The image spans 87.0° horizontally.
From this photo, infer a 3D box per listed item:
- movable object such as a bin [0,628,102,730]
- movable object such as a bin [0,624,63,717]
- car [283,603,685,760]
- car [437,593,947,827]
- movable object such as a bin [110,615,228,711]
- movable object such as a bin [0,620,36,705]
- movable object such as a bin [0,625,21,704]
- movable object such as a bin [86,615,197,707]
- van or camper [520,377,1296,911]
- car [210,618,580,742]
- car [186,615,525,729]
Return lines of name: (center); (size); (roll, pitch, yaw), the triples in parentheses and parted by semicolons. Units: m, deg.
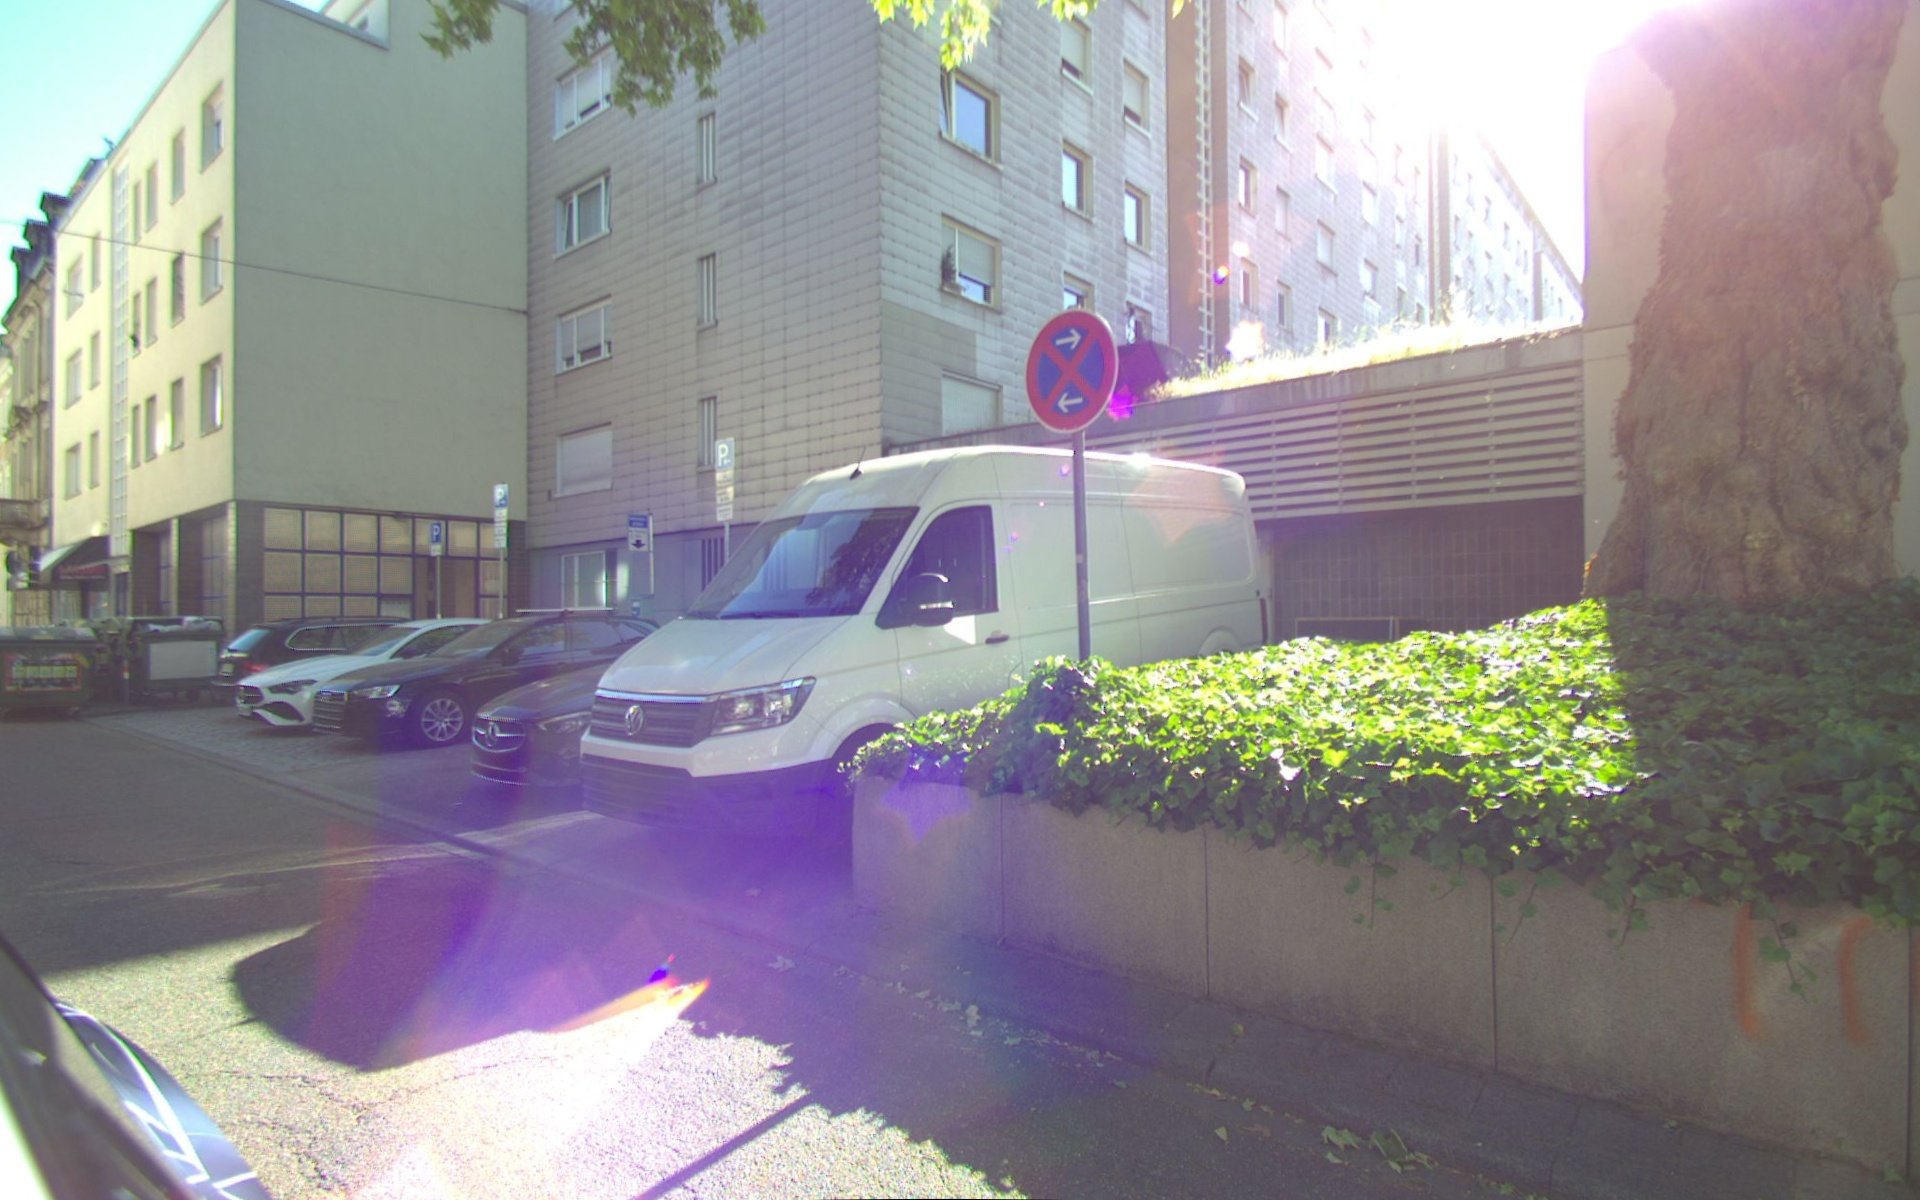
movable object such as a bin: (-14.646, 1.237, 15.984); (1.875, 1.512, 1.226); (-2, -6, 39)
movable object such as a bin: (-16.331, 1.183, 17.259); (1.923, 1.512, 1.231); (-2, -2, 38)
car: (-5.761, 0.891, 12.798); (1.694, 1.629, 4.367); (-2, -2, 34)
car: (-2.177, 0.781, 9.327); (1.697, 1.545, 4.361); (-2, 0, 39)
movable object such as a bin: (-13.219, 1.020, 16.918); (1.193, 1.512, 1.312); (-2, -2, 38)
movable object such as a bin: (-17.901, 1.135, 18.539); (1.558, 1.512, 1.207); (-2, -2, 38)
movable object such as a bin: (-19.144, 1.246, 19.568); (1.558, 1.512, 1.207); (-2, -2, 38)
movable object such as a bin: (-14.379, 1.038, 17.774); (1.515, 1.512, 1.207); (-2, -2, 38)
van or camper: (0.323, 0.093, 8.171); (1.999, 2.593, 6.835); (-3, 1, 41)
car: (-7.783, 1.013, 14.393); (1.595, 1.474, 4.367); (-2, -2, 34)
car: (-9.427, 1.040, 16.162); (1.694, 1.545, 4.367); (-2, -2, 34)
